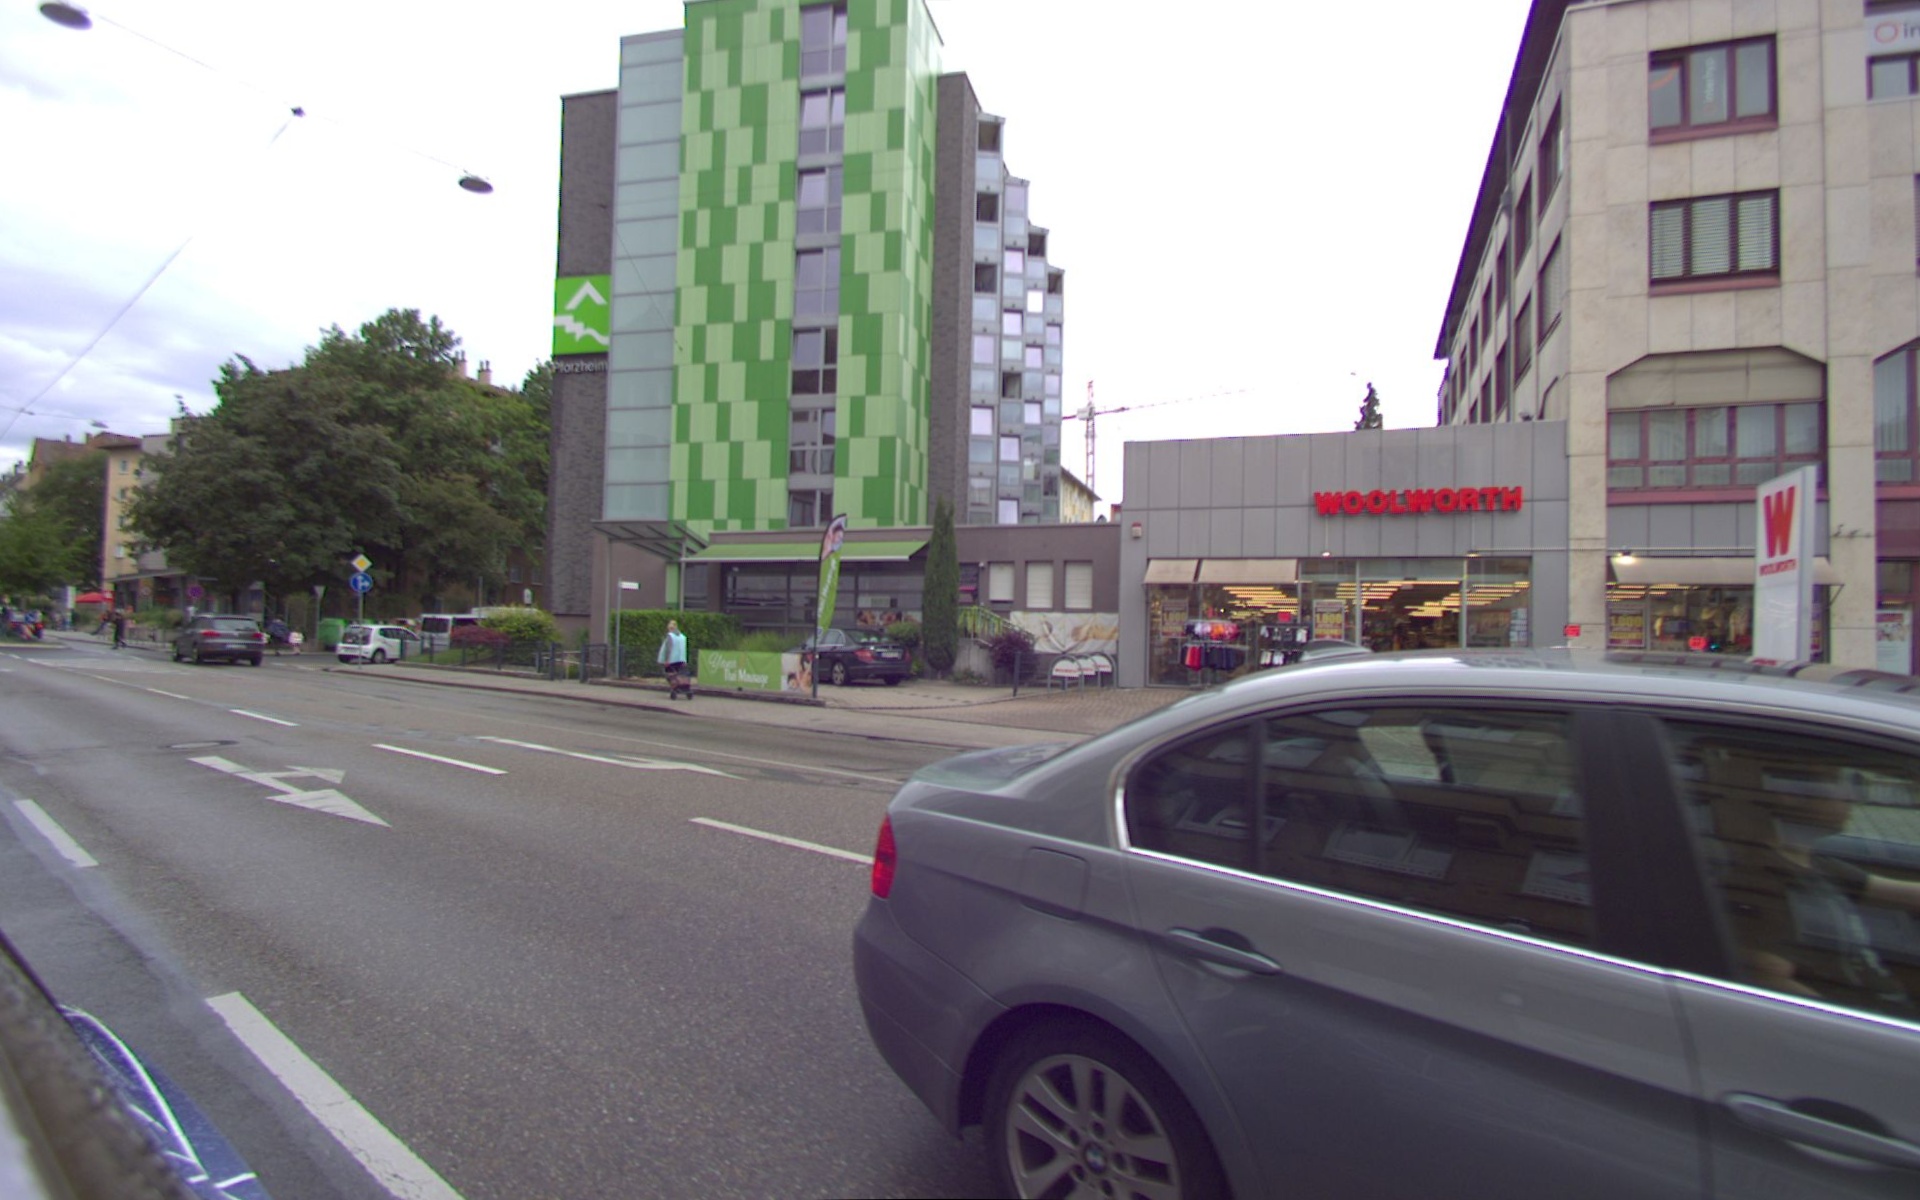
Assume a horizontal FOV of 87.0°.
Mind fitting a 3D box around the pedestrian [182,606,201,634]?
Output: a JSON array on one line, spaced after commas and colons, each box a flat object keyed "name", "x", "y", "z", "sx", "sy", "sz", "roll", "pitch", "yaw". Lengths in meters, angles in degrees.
[{"name": "pedestrian", "x": -51.041, "y": 1.336, "z": 67.218, "sx": 0.715, "sy": 1.840, "sz": 0.720, "roll": 0, "pitch": -2, "yaw": 13}]

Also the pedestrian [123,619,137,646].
[{"name": "pedestrian", "x": -51.836, "y": 2.021, "z": 63.186, "sx": 0.552, "sy": 1.686, "sz": 0.493, "roll": -1, "pitch": -3, "yaw": 38}]

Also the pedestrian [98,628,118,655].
[{"name": "pedestrian", "x": -58.073, "y": 2.840, "z": 68.975, "sx": 0.717, "sy": 1.840, "sz": 0.718, "roll": -1, "pitch": -2, "yaw": 22}]

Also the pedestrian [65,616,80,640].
[{"name": "pedestrian", "x": -69.168, "y": 2.179, "z": 78.871, "sx": 0.868, "sy": 1.833, "sz": 0.584, "roll": 0, "pitch": -2, "yaw": 33}]

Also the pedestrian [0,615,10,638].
[{"name": "pedestrian", "x": -85.206, "y": 2.392, "z": 90.167, "sx": 0.782, "sy": 2.029, "sz": 0.695, "roll": 0, "pitch": -2, "yaw": 37}]

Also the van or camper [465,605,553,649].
[{"name": "van or camper", "x": -24.664, "y": 1.450, "z": 55.571, "sx": 2.189, "sy": 2.283, "sz": 4.601, "roll": 0, "pitch": -1, "yaw": 12}]

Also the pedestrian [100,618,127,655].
[{"name": "pedestrian", "x": -41.035, "y": 1.755, "z": 49.051, "sx": 0.715, "sy": 1.772, "sz": 0.653, "roll": 0, "pitch": -3, "yaw": 20}]

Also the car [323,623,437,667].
[{"name": "car", "x": -22.156, "y": 1.691, "z": 38.817, "sx": 1.727, "sy": 1.581, "sz": 3.567, "roll": 0, "pitch": -2, "yaw": 18}]

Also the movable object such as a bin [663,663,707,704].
[{"name": "movable object such as a bin", "x": -5.803, "y": 1.763, "z": 21.404, "sx": 0.743, "sy": 0.795, "sz": 0.734, "roll": 2, "pitch": -2, "yaw": -4}]

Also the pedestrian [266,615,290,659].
[{"name": "pedestrian", "x": -27.739, "y": 1.503, "z": 41.145, "sx": 0.580, "sy": 1.775, "sz": 0.569, "roll": 0, "pitch": -3, "yaw": 35}]

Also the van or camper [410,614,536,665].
[{"name": "van or camper", "x": -21.025, "y": 1.726, "z": 43.931, "sx": 1.985, "sy": 2.029, "sz": 4.934, "roll": -3, "pitch": -3, "yaw": 20}]

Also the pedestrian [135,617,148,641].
[{"name": "pedestrian", "x": -51.240, "y": 1.802, "z": 63.357, "sx": 0.529, "sy": 1.484, "sz": 0.455, "roll": -1, "pitch": -3, "yaw": 38}]

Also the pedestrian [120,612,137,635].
[{"name": "pedestrian", "x": -60.572, "y": 1.713, "z": 73.734, "sx": 0.701, "sy": 1.691, "sz": 0.803, "roll": 2, "pitch": -2, "yaw": -21}]

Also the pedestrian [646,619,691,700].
[{"name": "pedestrian", "x": -6.280, "y": 1.289, "z": 21.855, "sx": 0.743, "sy": 1.698, "sz": 0.748, "roll": 2, "pitch": -3, "yaw": -4}]

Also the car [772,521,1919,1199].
[{"name": "car", "x": 1.782, "y": 0.675, "z": 1.856, "sx": 4.367, "sy": 1.475, "sz": 1.781, "roll": 1, "pitch": -2, "yaw": 40}]

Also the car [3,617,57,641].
[{"name": "car", "x": -59.244, "y": 1.830, "z": 64.451, "sx": 4.498, "sy": 1.436, "sz": 1.992, "roll": -1, "pitch": -3, "yaw": 41}]

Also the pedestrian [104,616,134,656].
[{"name": "pedestrian", "x": -40.360, "y": 1.727, "z": 48.581, "sx": 0.691, "sy": 1.859, "sz": 0.854, "roll": 0, "pitch": -3, "yaw": 27}]

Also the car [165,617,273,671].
[{"name": "car", "x": -24.378, "y": 1.425, "z": 33.257, "sx": 4.054, "sy": 1.672, "sz": 1.928, "roll": -1, "pitch": -3, "yaw": 40}]

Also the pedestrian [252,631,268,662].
[{"name": "pedestrian", "x": -28.002, "y": 1.864, "z": 40.468, "sx": 0.310, "sy": 1.207, "sz": 0.405, "roll": 0, "pitch": -3, "yaw": 35}]

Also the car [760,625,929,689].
[{"name": "car", "x": -3.034, "y": 1.401, "z": 25.836, "sx": 1.969, "sy": 1.450, "sz": 4.659, "roll": 3, "pitch": -3, "yaw": -41}]

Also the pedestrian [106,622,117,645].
[{"name": "pedestrian", "x": -52.548, "y": 2.063, "z": 62.674, "sx": 0.480, "sy": 1.421, "sz": 0.429, "roll": -1, "pitch": -3, "yaw": 38}]

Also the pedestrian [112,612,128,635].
[{"name": "pedestrian", "x": -61.713, "y": 1.702, "z": 74.363, "sx": 0.713, "sy": 1.691, "sz": 0.706, "roll": -1, "pitch": -3, "yaw": 41}]

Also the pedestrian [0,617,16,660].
[{"name": "pedestrian", "x": -41.792, "y": 1.667, "z": 43.997, "sx": 0.848, "sy": 1.840, "sz": 0.719, "roll": -1, "pitch": -2, "yaw": 19}]
